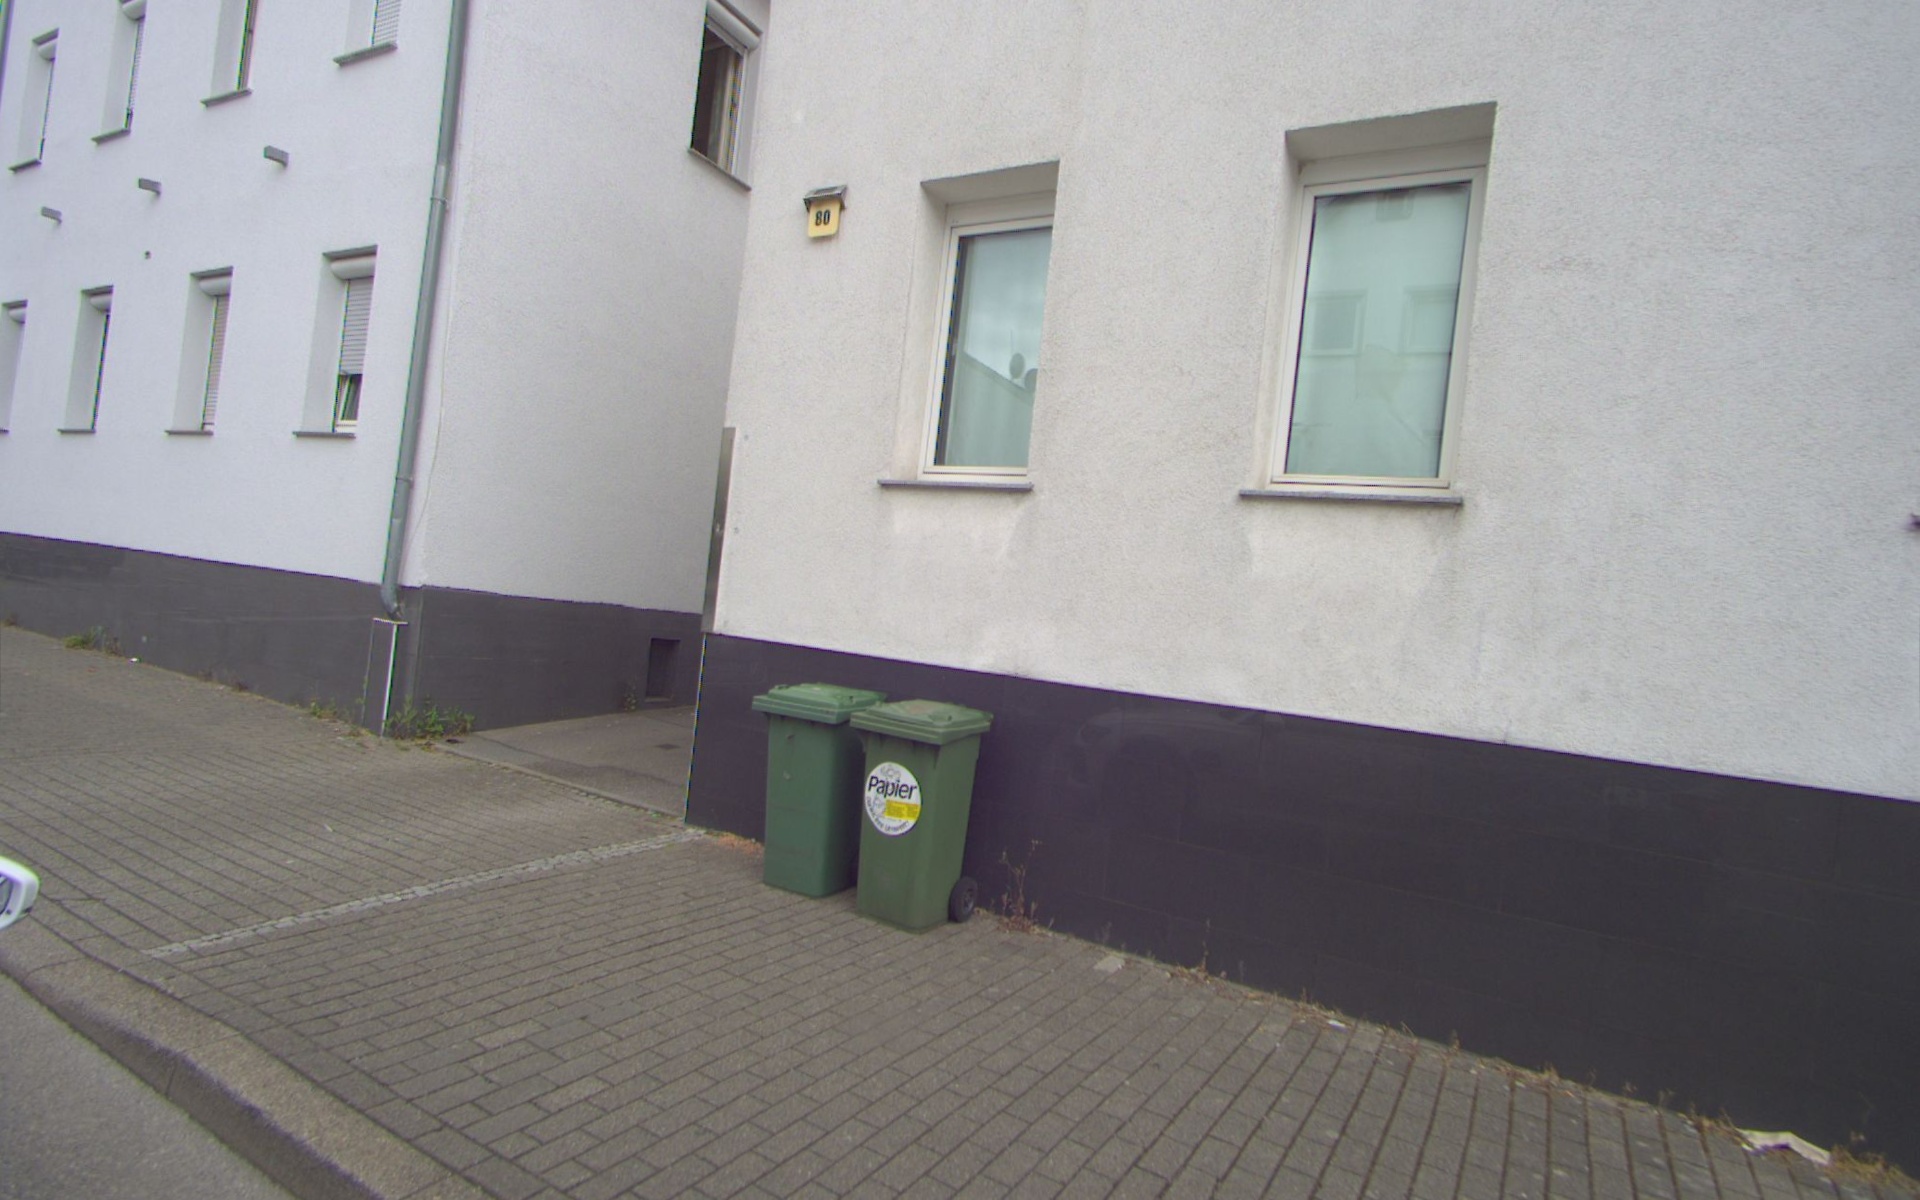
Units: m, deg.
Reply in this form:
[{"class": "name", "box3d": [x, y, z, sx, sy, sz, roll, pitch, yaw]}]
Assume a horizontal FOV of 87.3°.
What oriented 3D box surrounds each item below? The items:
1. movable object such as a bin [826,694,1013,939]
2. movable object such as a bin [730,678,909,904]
[{"class": "movable object such as a bin", "box3d": [-0.170, 0.906, 4.421, 0.510, 0.915, 0.564, 6, 1, 31]}, {"class": "movable object such as a bin", "box3d": [-0.652, 0.857, 4.724, 0.510, 0.915, 0.564, 6, 1, 31]}]
